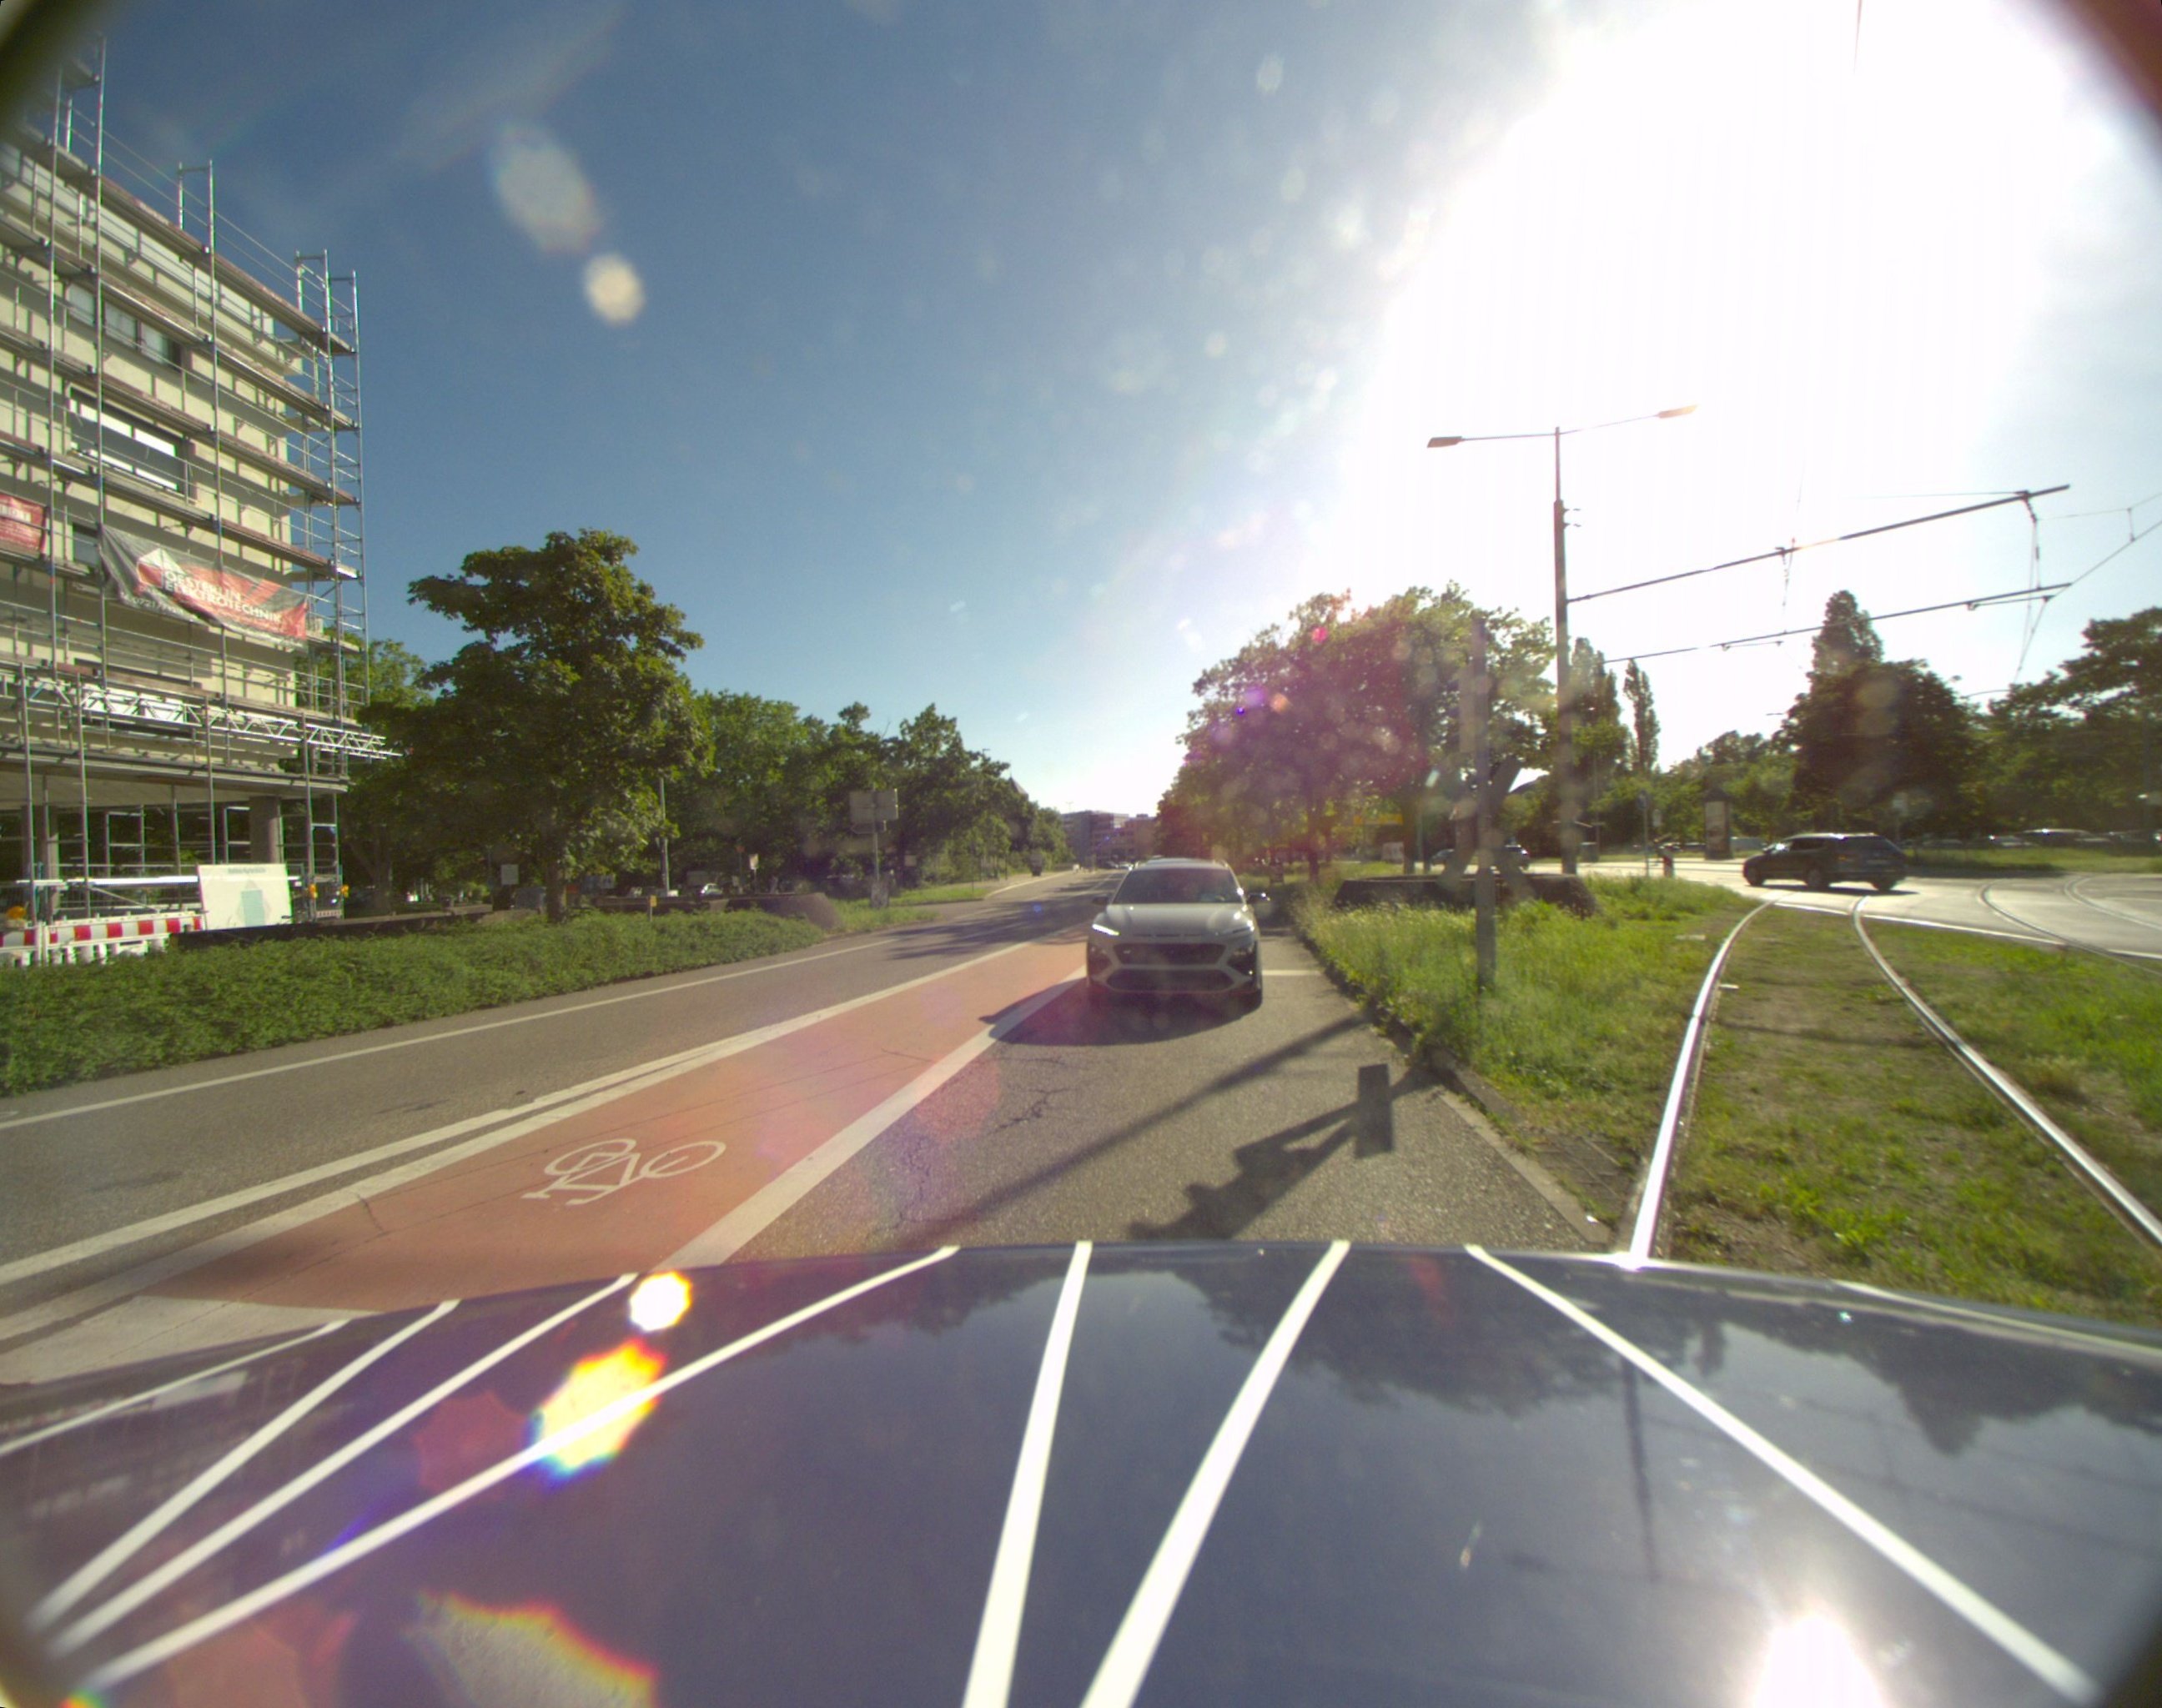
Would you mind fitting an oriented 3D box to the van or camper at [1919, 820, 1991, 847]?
[{"bbox_3d":[72.065,-1.674,62.760,1.996,2.084,4.408,-2,0,20],"label":"van or camper"}]

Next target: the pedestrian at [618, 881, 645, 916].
[{"bbox_3d":[-20.085,1.961,33.955,0.651,1.488,0.909,-2,0,-4],"label":"pedestrian"}]

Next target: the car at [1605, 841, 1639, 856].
[{"bbox_3d":[53.421,-0.546,75.087,1.818,1.439,4.006,-2,0,23],"label":"car"}]

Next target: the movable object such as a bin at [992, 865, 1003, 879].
[{"bbox_3d":[-6.505,1.421,59.489,0.728,1.024,0.578,-2,0,3],"label":"movable object such as a bin"}]

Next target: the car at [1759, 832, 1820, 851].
[{"bbox_3d":[55.917,-0.986,59.939,4.004,1.275,1.996,-2,0,-22],"label":"car"}]

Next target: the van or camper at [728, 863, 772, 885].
[{"bbox_3d":[-35.657,2.111,82.089,2.457,2.146,5.327,-2,0,-2],"label":"van or camper"}]

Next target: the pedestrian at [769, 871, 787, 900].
[{"bbox_3d":[-17.466,1.806,43.860,0.705,1.610,0.567,-4,1,-2],"label":"pedestrian"}]

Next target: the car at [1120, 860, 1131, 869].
[{"bbox_3d":[8.087,1.864,138.635,1.998,1.523,4.001,-2,0,4],"label":"car"}]

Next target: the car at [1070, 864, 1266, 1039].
[{"bbox_3d":[1.197,0.956,9.090,1.779,1.542,3.983,-2,0,12],"label":"car"}]

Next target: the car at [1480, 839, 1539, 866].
[{"bbox_3d":[27.427,-0.089,48.838,1.997,1.553,4.390,-2,0,11],"label":"car"}]

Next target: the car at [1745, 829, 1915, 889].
[{"bbox_3d":[22.915,0.133,23.528,1.755,1.604,4.729,-2,0,18],"label":"car"}]

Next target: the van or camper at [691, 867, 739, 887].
[{"bbox_3d":[-39.409,2.459,81.983,2.457,1.902,5.327,-2,0,0],"label":"van or camper"}]

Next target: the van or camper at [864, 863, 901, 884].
[{"bbox_3d":[-20.423,1.991,78.438,2.457,1.902,5.327,-2,0,0],"label":"van or camper"}]

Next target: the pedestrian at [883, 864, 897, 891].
[{"bbox_3d":[-11.764,1.465,46.850,0.623,1.625,0.551,-2,0,4],"label":"pedestrian"}]

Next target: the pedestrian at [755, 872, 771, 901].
[{"bbox_3d":[-18.361,1.863,43.835,0.599,1.610,0.567,-4,1,-2],"label":"pedestrian"}]

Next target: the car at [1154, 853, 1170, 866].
[{"bbox_3d":[10.279,0.737,96.349,1.743,1.539,4.003,-4,-1,9],"label":"car"}]

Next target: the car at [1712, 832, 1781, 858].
[{"bbox_3d":[55.242,-0.740,63.107,5.004,2.002,2.235,-2,0,-22],"label":"car"}]

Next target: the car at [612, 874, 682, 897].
[{"bbox_3d":[-28.643,2.079,50.205,3.649,1.267,1.622,-2,2,-2],"label":"car"}]

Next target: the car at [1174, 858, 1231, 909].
[{"bbox_3d":[4.155,0.953,26.061,1.743,1.539,4.003,-2,0,9],"label":"car"}]

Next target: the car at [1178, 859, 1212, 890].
[{"bbox_3d":[6.065,1.039,40.328,1.677,1.499,3.951,-2,0,9],"label":"car"}]

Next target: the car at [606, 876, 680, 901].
[{"bbox_3d":[-27.286,2.142,47.382,3.586,1.307,1.622,-2,2,-2],"label":"car"}]

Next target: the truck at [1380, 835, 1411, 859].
[{"bbox_3d":[34.463,-0.759,83.343,1.792,2.412,4.111,-2,0,3],"label":"truck"}]

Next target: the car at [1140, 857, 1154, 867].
[{"bbox_3d":[9.925,1.192,113.714,1.828,1.464,4.002,-2,0,7],"label":"car"}]

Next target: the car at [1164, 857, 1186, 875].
[{"bbox_3d":[7.959,0.980,64.530,1.781,1.397,4.002,-2,0,7],"label":"car"}]

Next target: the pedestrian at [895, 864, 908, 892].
[{"bbox_3d":[-11.151,1.485,47.268,0.603,1.690,0.410,-2,0,3],"label":"pedestrian"}]

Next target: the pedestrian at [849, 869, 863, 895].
[{"bbox_3d":[-13.489,1.649,45.502,0.528,1.509,0.614,-2,0,7],"label":"pedestrian"}]

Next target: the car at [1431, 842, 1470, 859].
[{"bbox_3d":[33.752,-0.270,69.516,1.667,1.440,4.403,-2,0,4],"label":"car"}]
